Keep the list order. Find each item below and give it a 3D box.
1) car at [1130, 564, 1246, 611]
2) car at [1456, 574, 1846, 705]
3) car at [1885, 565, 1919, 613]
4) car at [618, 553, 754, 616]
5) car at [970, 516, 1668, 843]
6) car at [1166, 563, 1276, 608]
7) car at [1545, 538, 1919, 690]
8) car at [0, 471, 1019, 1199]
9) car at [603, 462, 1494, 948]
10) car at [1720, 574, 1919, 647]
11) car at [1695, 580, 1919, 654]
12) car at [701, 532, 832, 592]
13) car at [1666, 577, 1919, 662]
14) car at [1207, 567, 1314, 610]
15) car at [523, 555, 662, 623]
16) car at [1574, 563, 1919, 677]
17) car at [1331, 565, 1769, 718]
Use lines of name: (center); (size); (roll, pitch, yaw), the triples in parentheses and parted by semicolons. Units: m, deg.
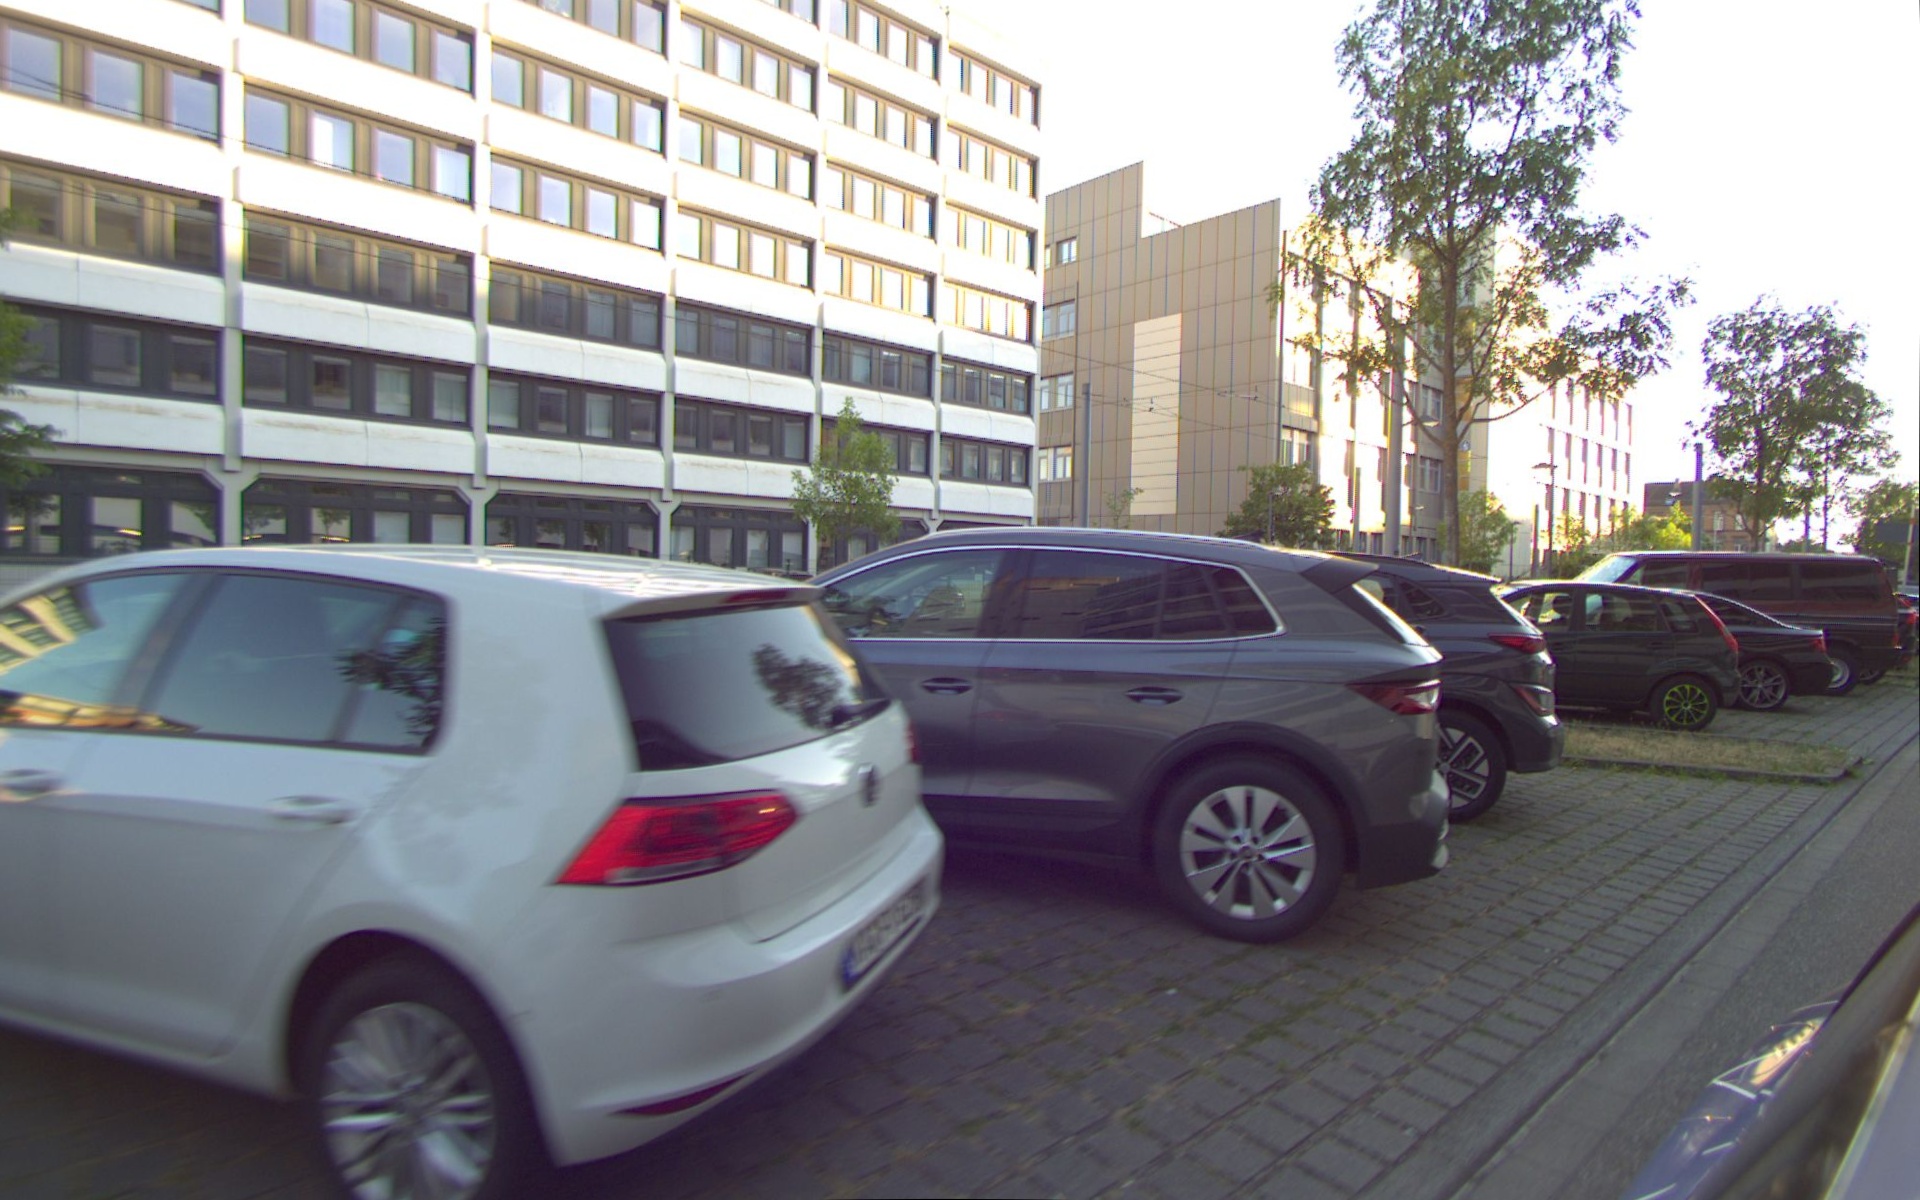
car: (8.656, -0.486, 38.659); (1.793, 1.531, 3.994); (1, 3, -43)
car: (8.562, 0.444, 12.884); (3.722, 1.484, 1.632); (1, 0, 13)
car: (47.000, -0.513, 49.734); (4.655, 2.203, 1.807); (0, 3, -43)
car: (-6.720, -0.337, 24.585); (1.565, 1.416, 3.991); (1, -1, -42)
car: (2.272, 0.336, 7.093); (3.940, 1.659, 1.960); (3, 3, 21)
car: (10.399, -0.601, 40.557); (1.646, 1.505, 3.997); (0, 4, -40)
car: (11.553, 0.171, 15.087); (4.537, 2.061, 1.862); (1, 0, 15)
car: (-1.958, 0.436, 3.316); (3.883, 1.527, 1.945); (3, 2, 19)
car: (0.366, 0.359, 5.022); (3.726, 1.747, 1.754); (1, 0, 16)
car: (21.365, 0.225, 24.705); (3.941, 1.539, 1.921); (2, 3, 14)
car: (19.030, 0.338, 22.489); (3.937, 1.483, 1.732); (2, 1, 11)
car: (-5.199, -0.942, 26.828); (1.565, 1.416, 3.991); (1, -1, -42)
car: (17.073, 0.378, 20.664); (3.939, 1.615, 1.730); (0, 0, 13)
car: (12.443, -0.497, 42.101); (1.646, 1.505, 3.997); (0, 4, -40)
car: (-8.428, -0.211, 23.020); (1.565, 1.416, 3.991); (1, -1, -42)
car: (13.287, 0.291, 17.159); (4.537, 1.771, 1.862); (1, 0, 15)
car: (6.129, 0.384, 10.990); (3.722, 1.461, 1.756); (1, 0, 13)
